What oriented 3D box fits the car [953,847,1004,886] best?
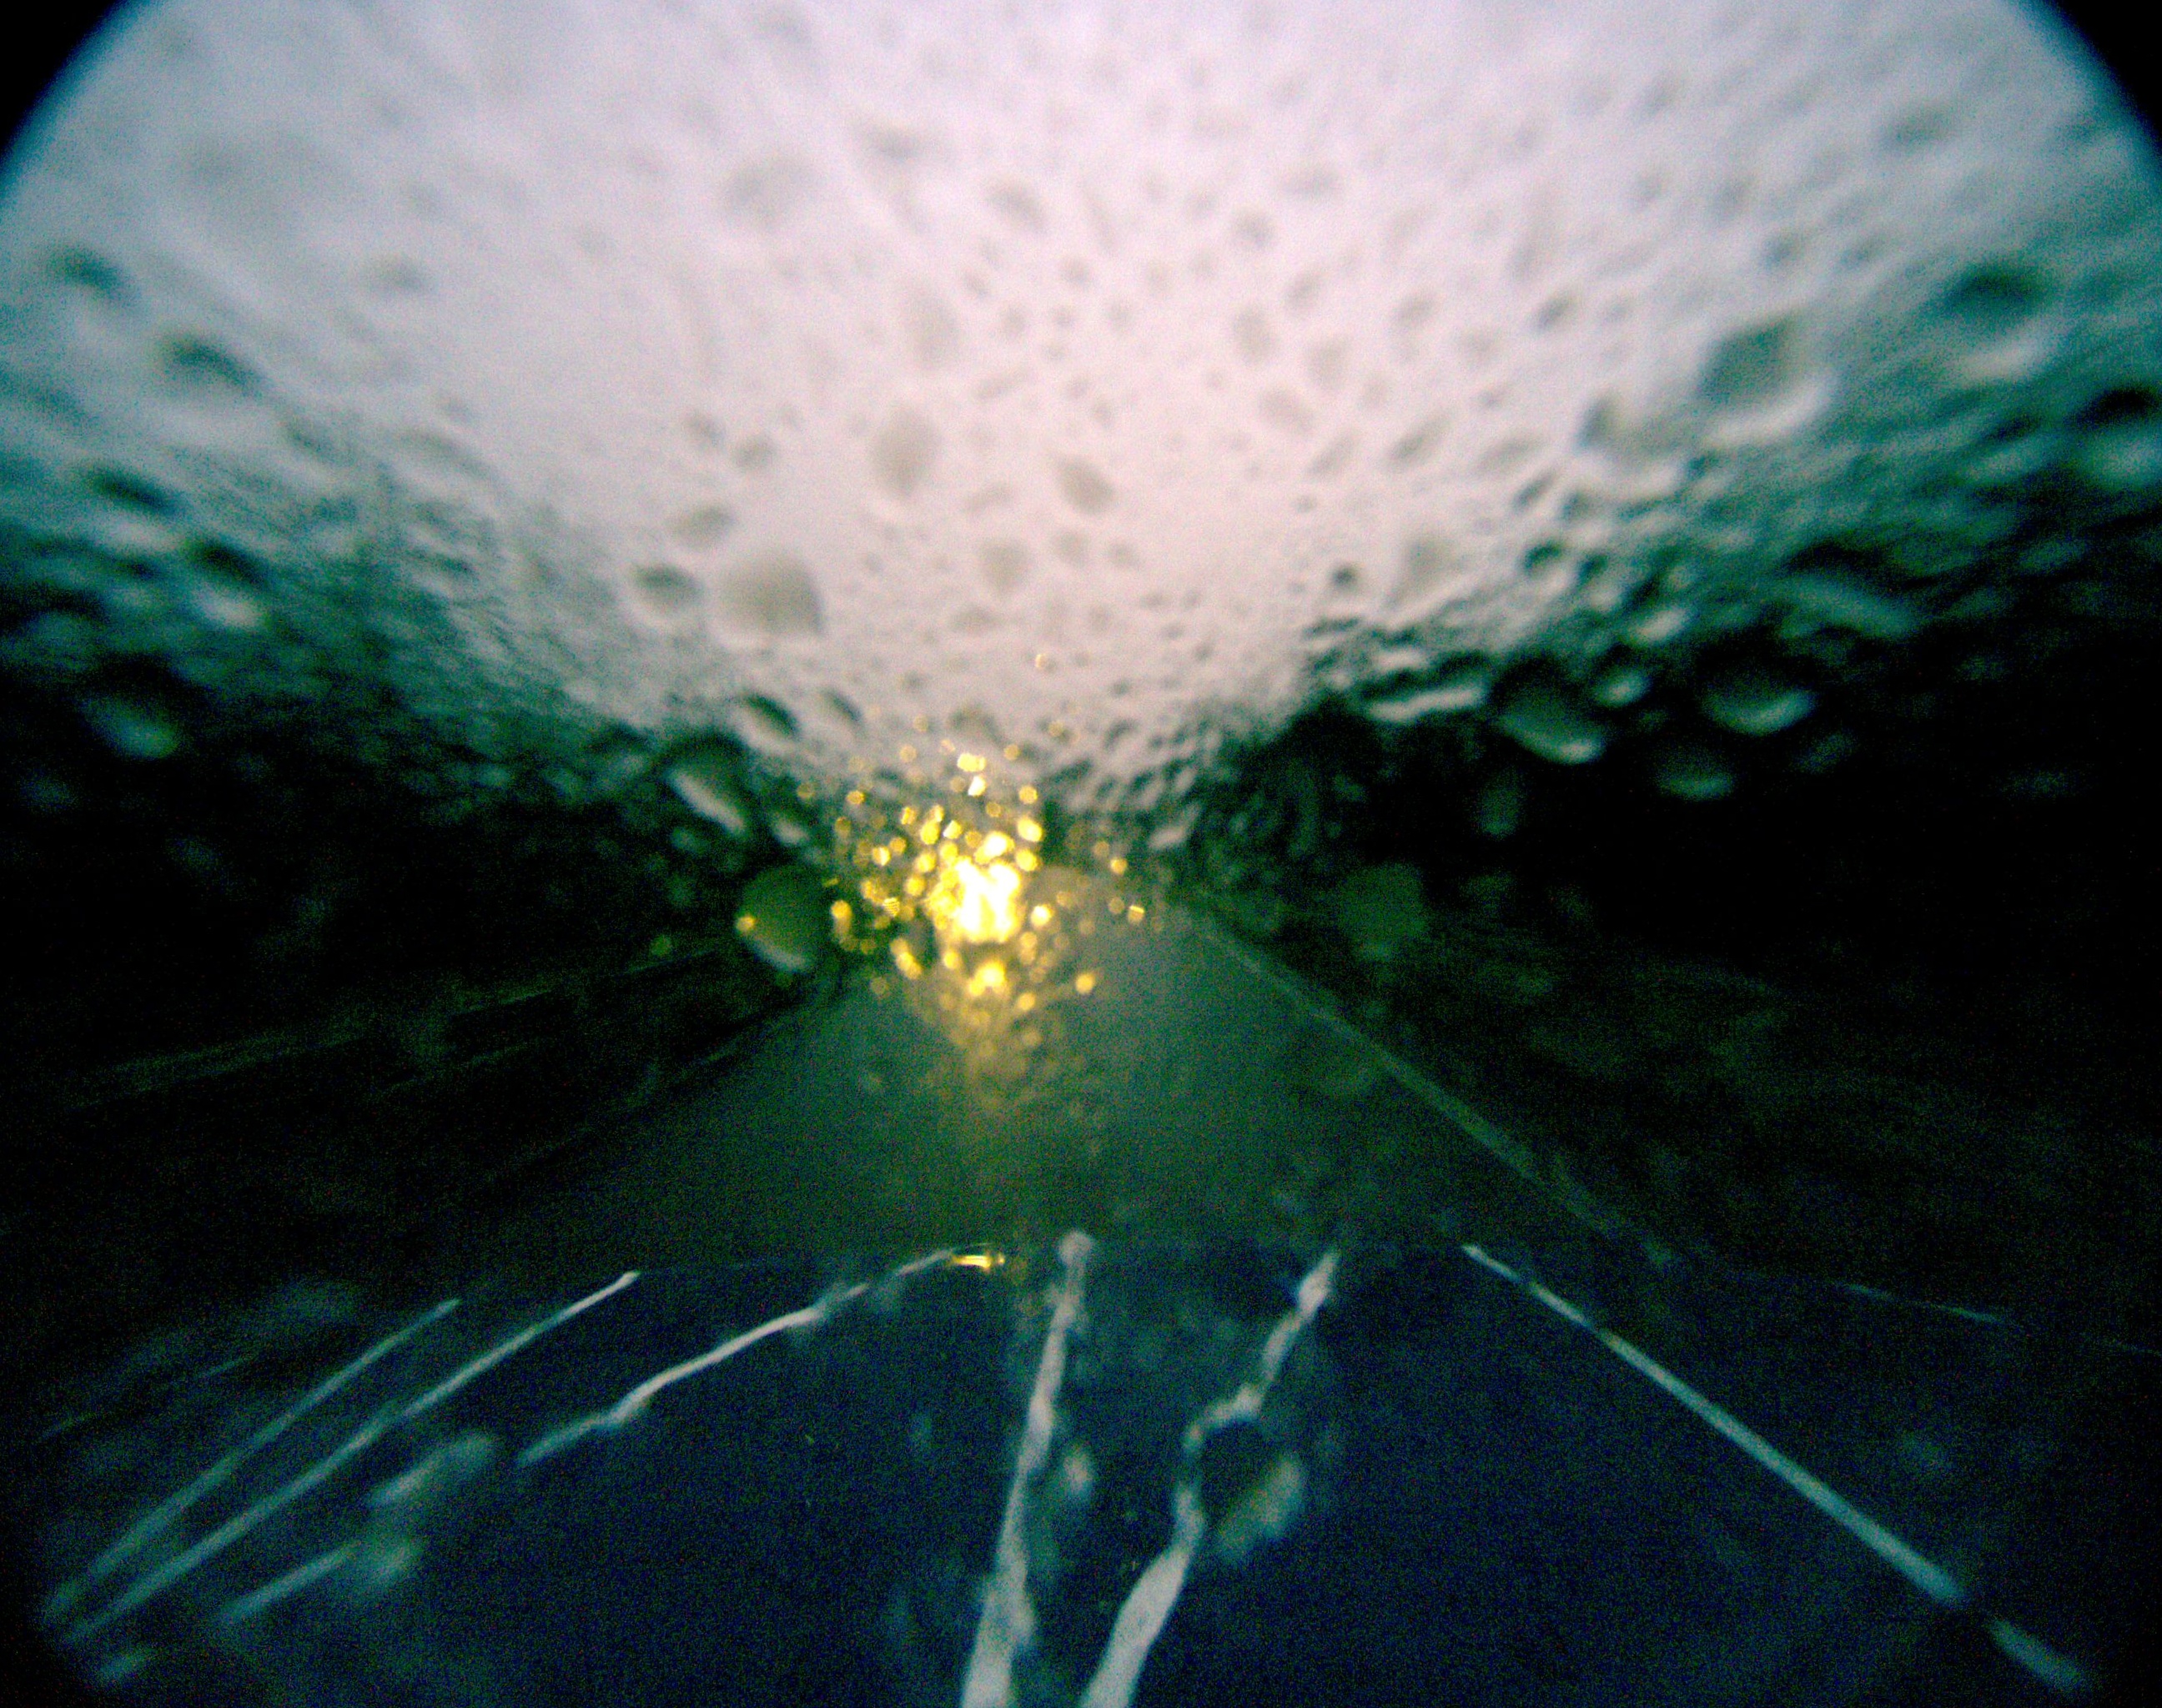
[{"bbox_3d":[-5.561,0.707,40.851,2.002,2.001,3.958,0,-2,-19],"label":"car"}]
